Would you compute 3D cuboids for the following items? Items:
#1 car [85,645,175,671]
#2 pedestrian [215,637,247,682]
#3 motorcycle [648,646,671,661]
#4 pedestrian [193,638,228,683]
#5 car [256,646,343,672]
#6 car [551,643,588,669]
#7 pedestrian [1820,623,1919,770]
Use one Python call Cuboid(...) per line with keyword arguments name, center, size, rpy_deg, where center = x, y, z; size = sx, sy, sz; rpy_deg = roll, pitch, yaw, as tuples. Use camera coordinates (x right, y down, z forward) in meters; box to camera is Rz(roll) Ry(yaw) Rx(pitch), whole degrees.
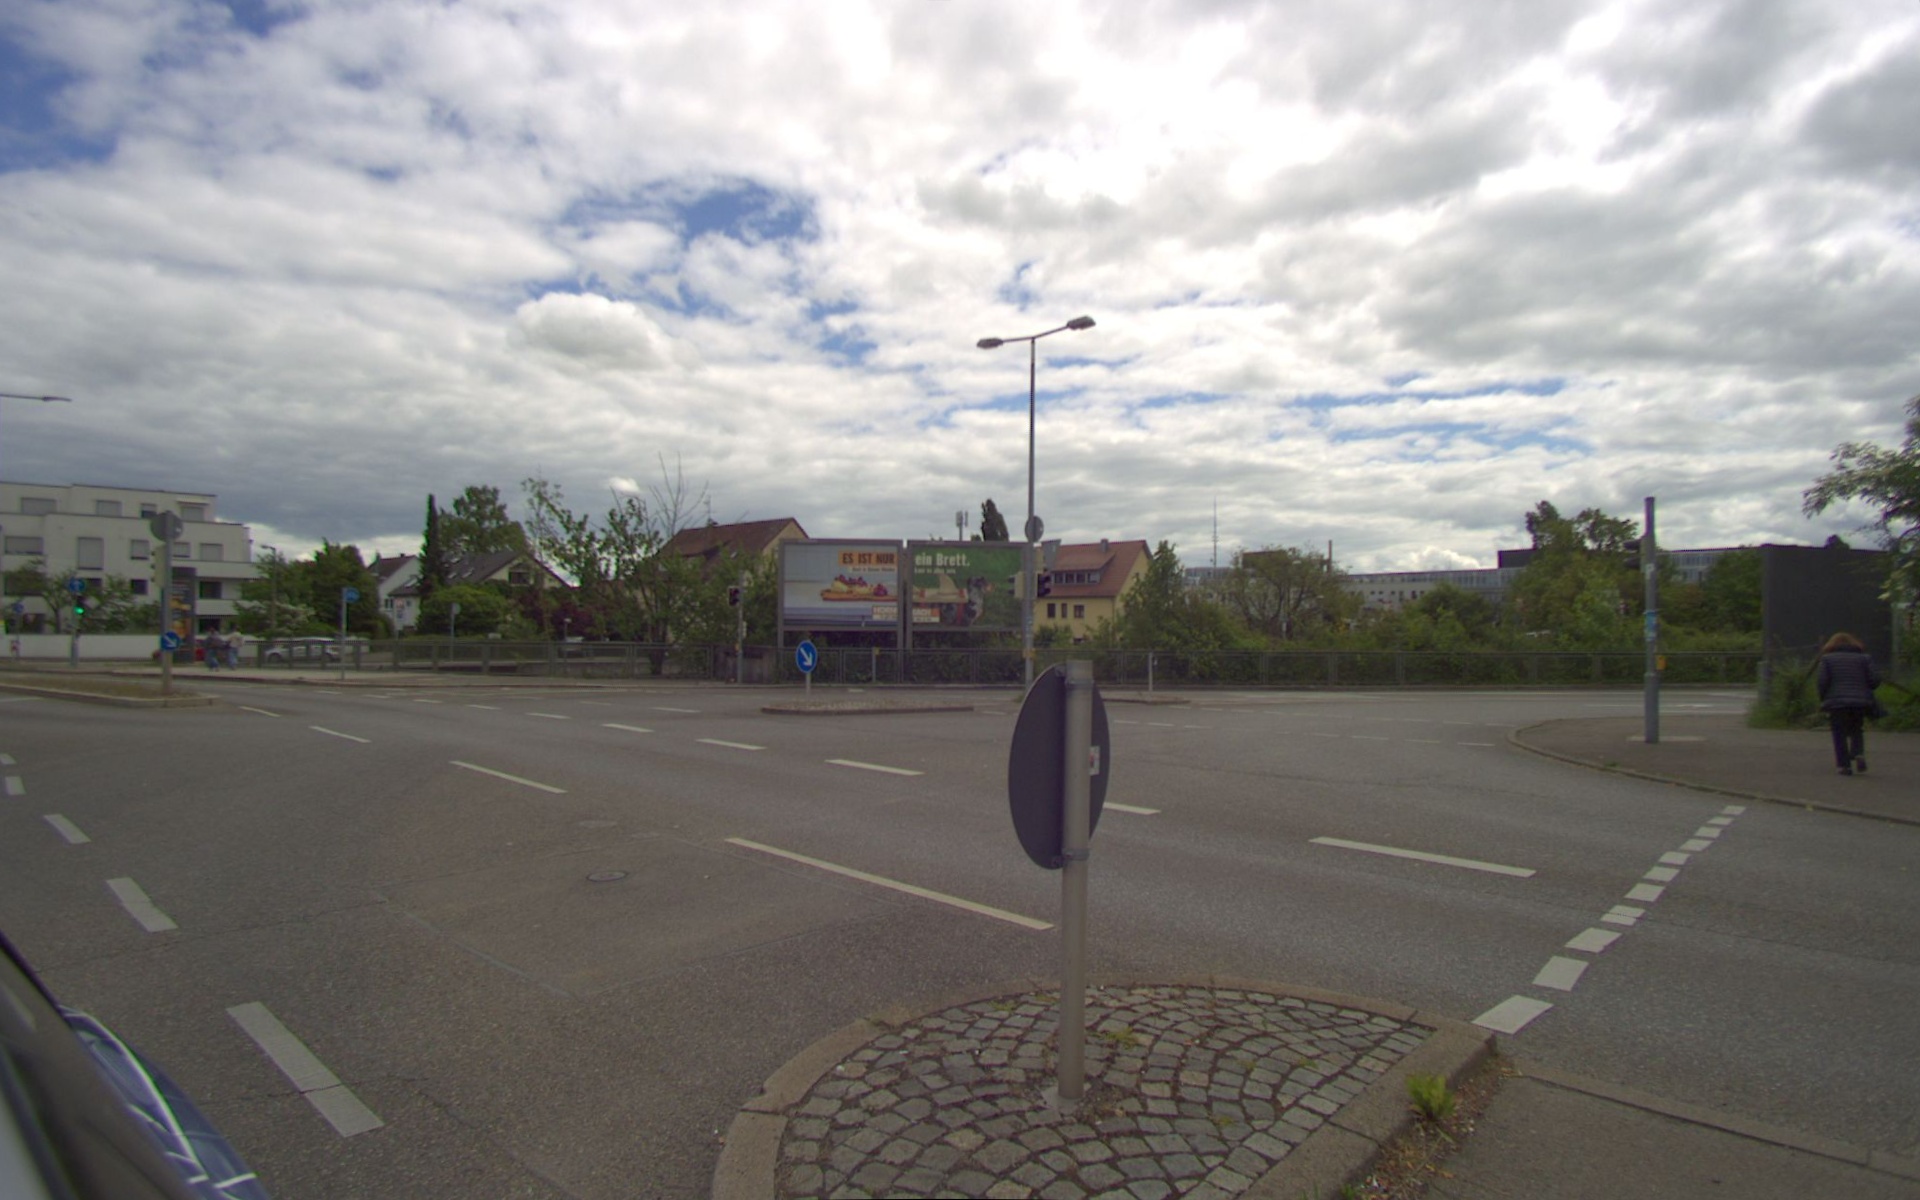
Cuboid(name="car", center=(-48.791, 3.392, 59.563), size=(3.640, 1.458, 1.780), rpy_deg=(1, -2, -15))
Cuboid(name="pedestrian", center=(-27.834, 2.264, 38.649), size=(0.828, 1.646, 0.652), rpy_deg=(-1, -1, 25))
Cuboid(name="motorcycle", center=(-20.860, 3.709, 70.327), size=(0.692, 1.007, 2.125), rpy_deg=(6, -5, -40))
Cuboid(name="pedestrian", center=(-28.139, 2.247, 37.994), size=(1.065, 1.646, 0.652), rpy_deg=(-1, -1, 25))
Cuboid(name="car", center=(-40.145, 3.597, 61.613), size=(4.061, 1.547, 1.652), rpy_deg=(1, -3, -14))
Cuboid(name="car", center=(-28.592, 4.058, 74.213), size=(1.758, 1.592, 4.009), rpy_deg=(-2, 1, -11))
Cuboid(name="pedestrian", center=(9.367, 0.967, 10.402), size=(0.598, 1.418, 0.768), rpy_deg=(-3, -1, 29))
